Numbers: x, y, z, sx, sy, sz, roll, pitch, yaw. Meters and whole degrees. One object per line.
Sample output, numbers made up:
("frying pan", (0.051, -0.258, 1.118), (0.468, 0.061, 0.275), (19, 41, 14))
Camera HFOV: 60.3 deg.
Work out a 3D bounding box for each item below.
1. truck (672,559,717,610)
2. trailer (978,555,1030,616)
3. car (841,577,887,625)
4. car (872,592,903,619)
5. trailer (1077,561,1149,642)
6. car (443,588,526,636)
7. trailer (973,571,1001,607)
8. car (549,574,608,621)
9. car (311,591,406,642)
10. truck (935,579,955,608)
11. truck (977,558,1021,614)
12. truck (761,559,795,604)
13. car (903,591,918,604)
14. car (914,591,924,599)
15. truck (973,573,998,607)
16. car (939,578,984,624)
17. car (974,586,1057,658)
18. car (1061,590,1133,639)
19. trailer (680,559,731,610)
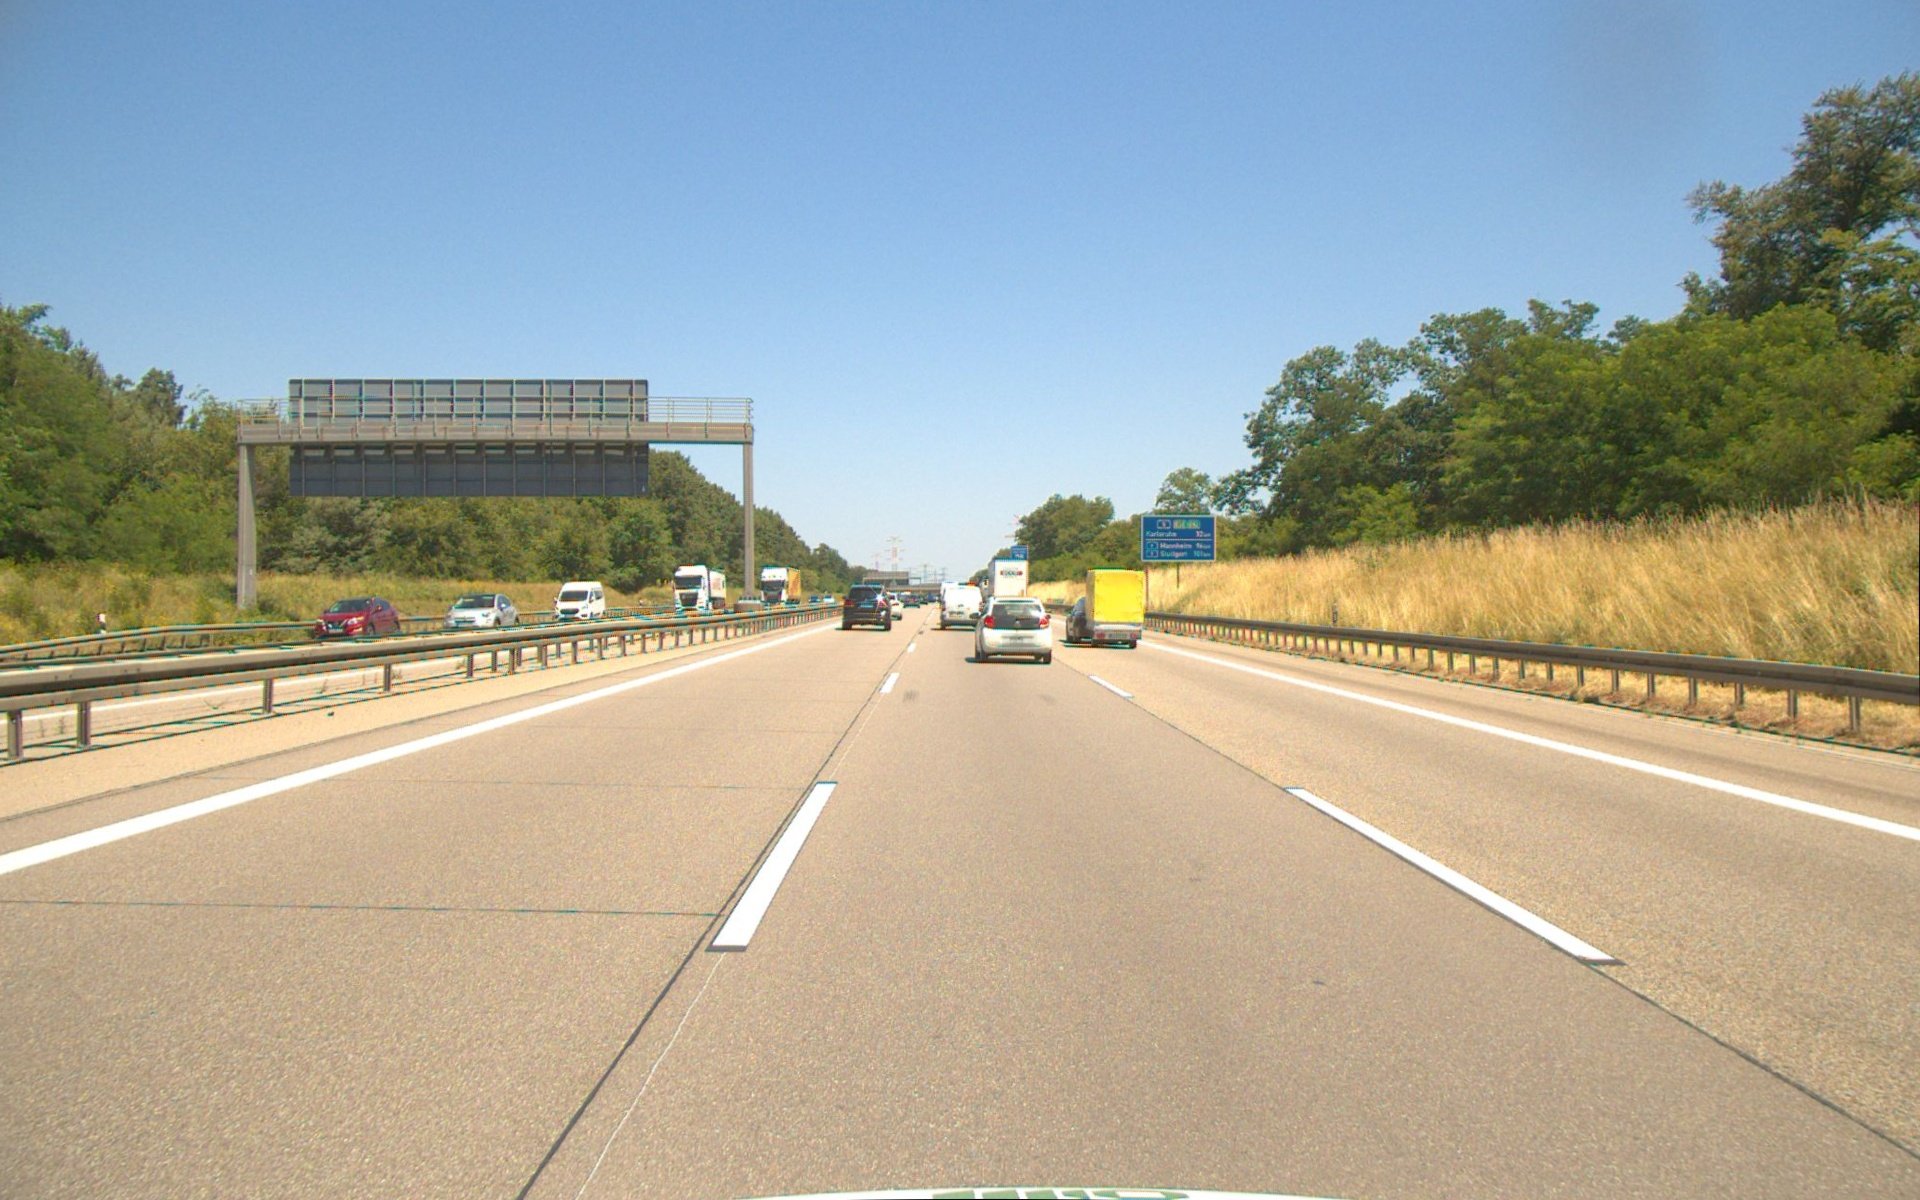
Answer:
("truck", (-21.655, -1.260, 135.279), (2.572, 4.017, 6.482), (-3, 0, -1))
("trailer", (3.258, -1.049, 125.982), (3.219, 4.293, 13.562), (1, 0, -1))
("car", (-3.749, 0.027, 65.228), (1.593, 1.785, 3.804), (1, 0, -1))
("car", (-3.948, 0.268, 90.765), (1.635, 1.426, 3.712), (0, 1, -2))
("trailer", (4.538, 0.037, 49.546), (1.668, 2.329, 3.838), (1, 0, -2))
("car", (-16.415, 0.380, 57.301), (1.613, 1.525, 4.560), (-3, 0, -2))
("trailer", (3.007, -1.172, 185.391), (2.628, 3.904, 12.007), (1, 0, -1))
("car", (-20.953, -0.160, 91.098), (1.947, 2.381, 5.808), (-3, 0, -2))
("car", (-20.789, 0.525, 57.370), (1.613, 1.618, 4.611), (-2, 1, -1))
("truck", (-1.594, -0.617, 172.434), (2.018, 2.965, 7.001), (0, 0, -1))
("truck", (3.104, -1.085, 132.981), (3.219, 4.293, 6.006), (1, 0, -1))
("truck", (-17.477, -1.759, 159.191), (2.414, 4.143, 6.286), (-3, 0, -1))
("car", (-5.322, -0.279, 177.272), (1.574, 1.323, 3.674), (1, 0, -1))
("car", (-5.610, -0.675, 226.428), (1.377, 1.151, 3.358), (1, 0, -1))
("truck", (2.906, -1.157, 191.262), (2.628, 3.904, 4.443), (1, 0, -1))
("car", (0.036, 0.031, 69.583), (1.777, 1.859, 5.109), (0, 0, -1))
("car", (1.211, 0.470, 37.632), (1.673, 1.521, 4.023), (1, 0, -1))
("car", (4.422, 0.438, 53.859), (1.784, 1.481, 4.787), (1, 0, -2))
("trailer", (-21.722, -1.318, 141.722), (2.572, 4.017, 11.156), (-3, 0, -1))
